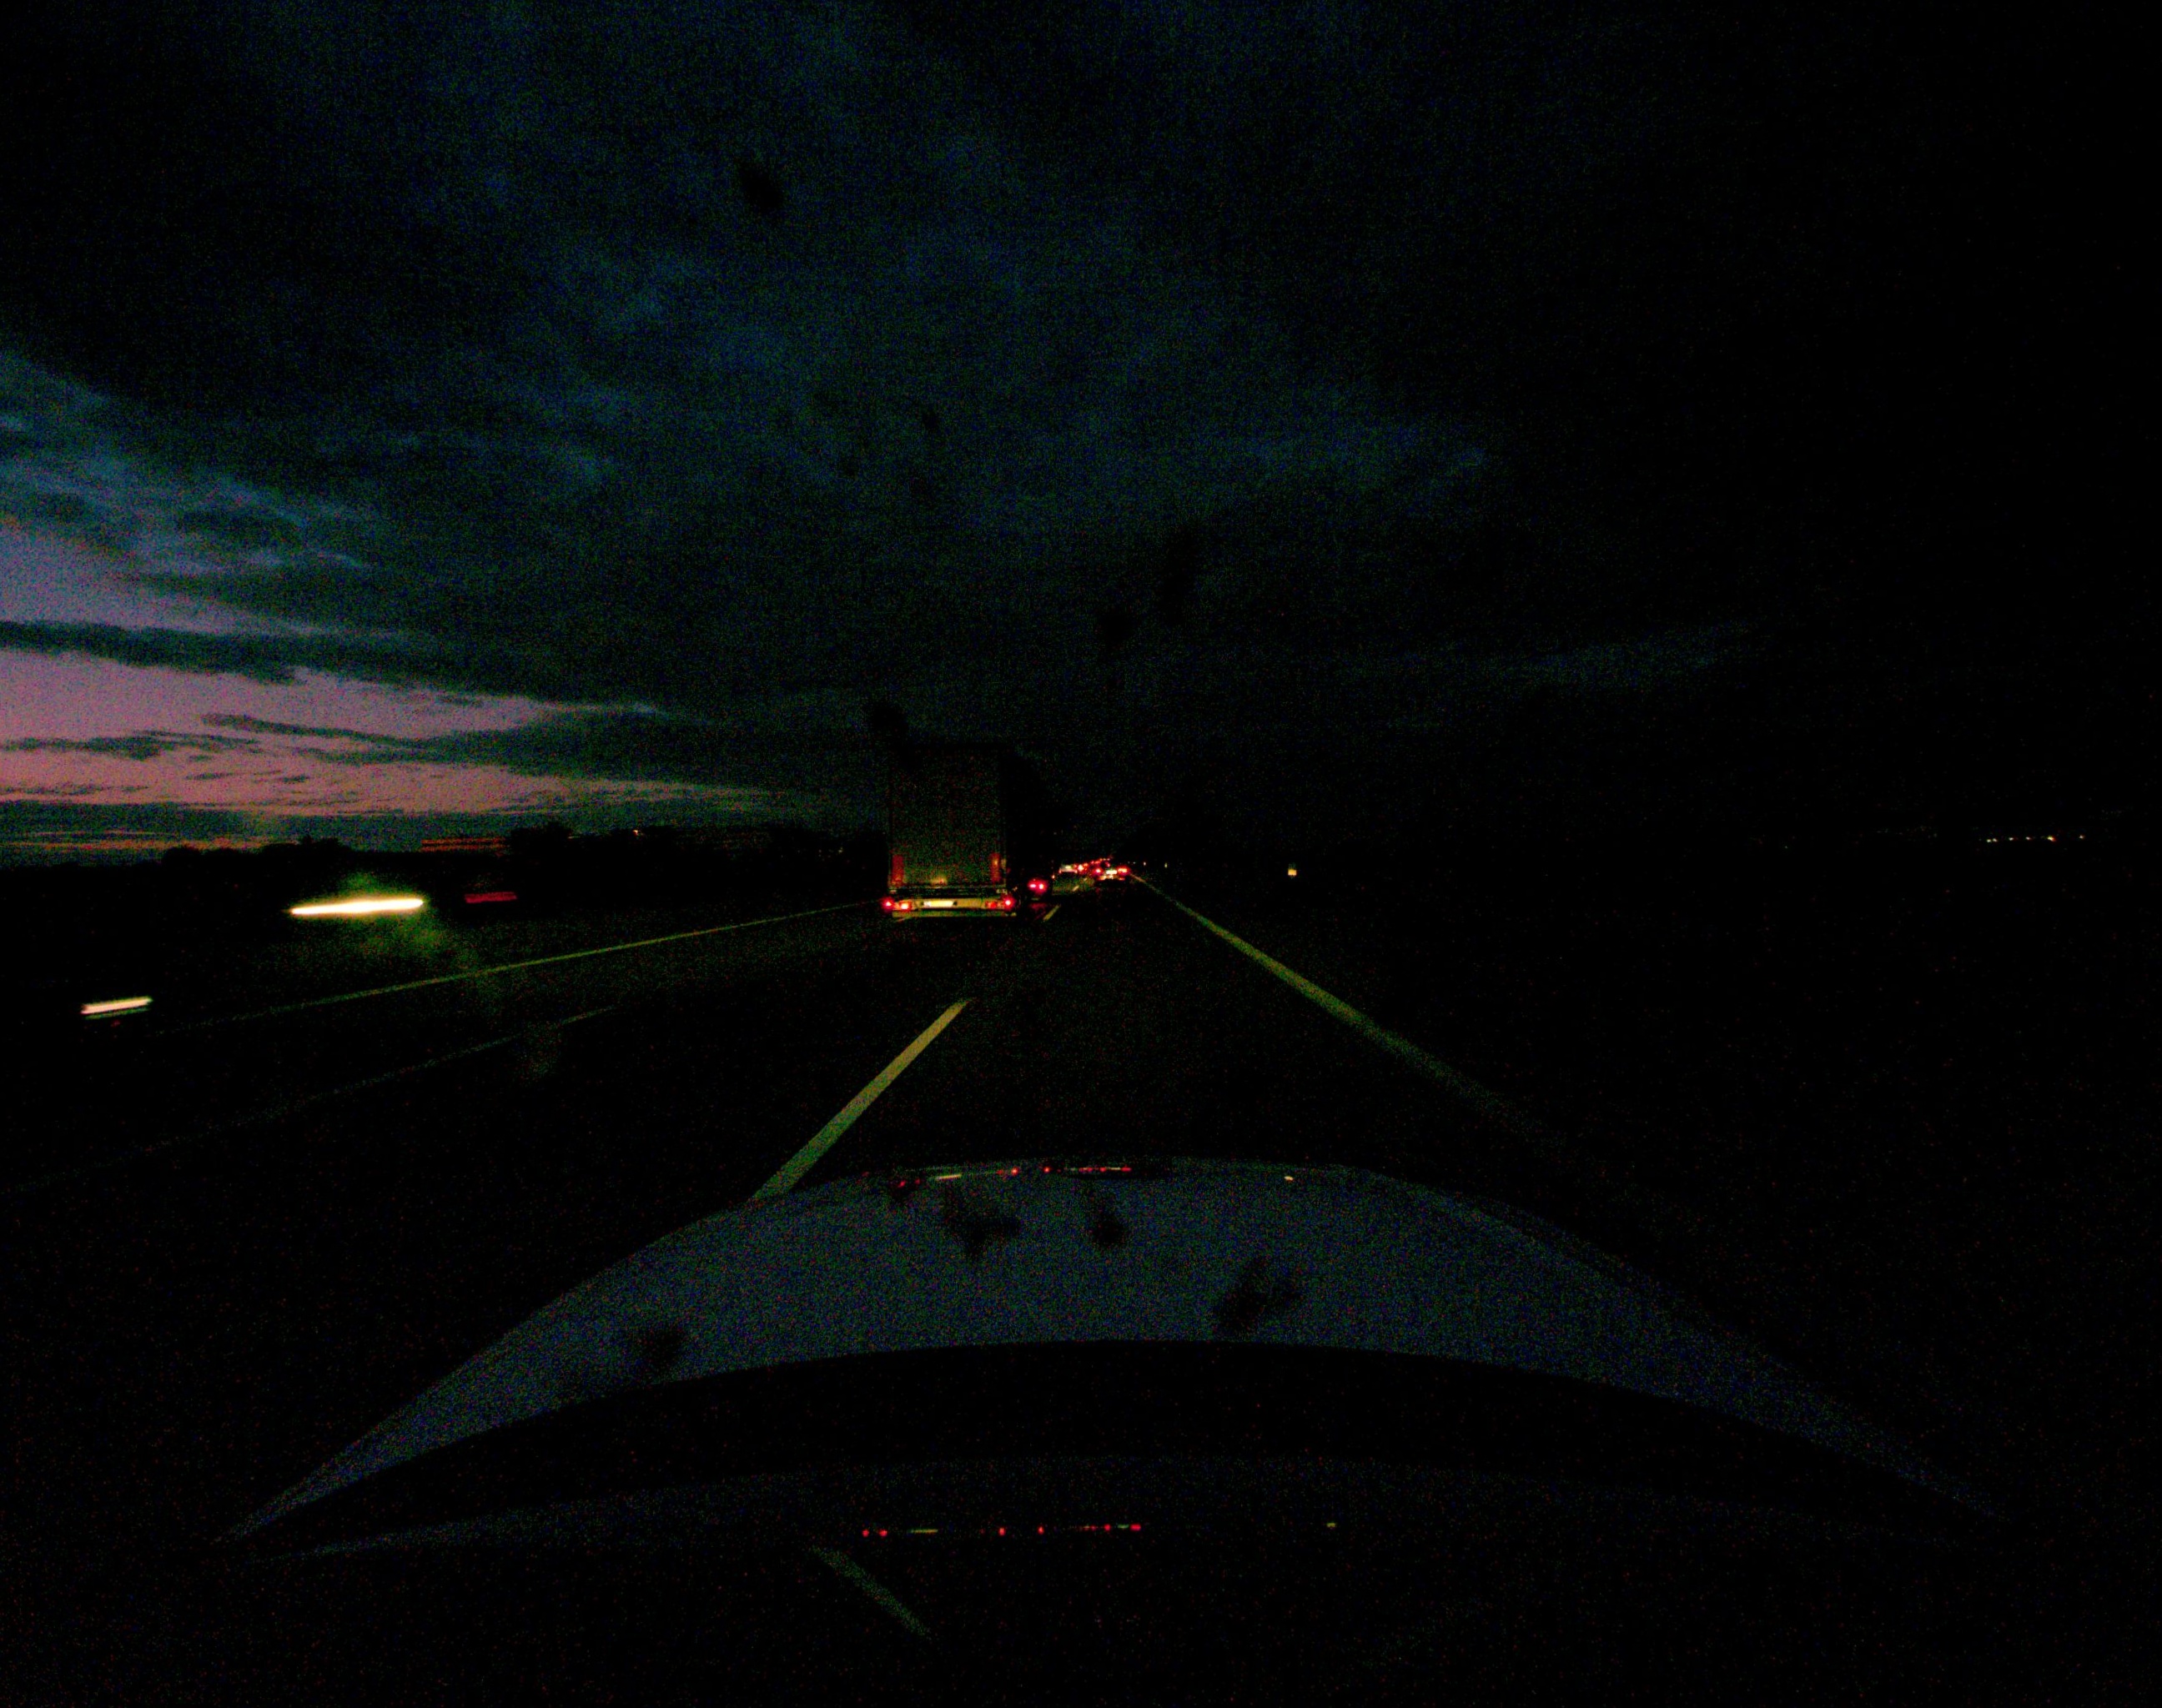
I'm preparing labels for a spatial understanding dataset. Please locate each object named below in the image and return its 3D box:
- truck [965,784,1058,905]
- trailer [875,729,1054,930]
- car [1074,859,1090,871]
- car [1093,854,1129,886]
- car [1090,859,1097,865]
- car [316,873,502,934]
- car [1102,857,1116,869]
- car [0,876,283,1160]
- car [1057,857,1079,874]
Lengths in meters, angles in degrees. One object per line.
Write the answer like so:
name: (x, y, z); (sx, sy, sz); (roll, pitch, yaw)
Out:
truck: (-2.480, -0.276, 31.036); (2.767, 4.093, 6.104); (-1, -1, 1)
trailer: (-2.658, -0.398, 24.061); (2.784, 4.085, 14.528); (-1, -1, 1)
car: (0.150, 1.311, 95.978); (1.716, 1.471, 4.727); (0, -1, 2)
car: (1.621, 0.845, 44.056); (1.873, 1.643, 4.001); (0, -1, 2)
car: (3.426, 2.220, 216.322); (1.873, 1.552, 4.001); (0, -1, 1)
car: (-22.342, 1.576, 27.418); (1.986, 1.847, 4.959); (0, -1, 2)
car: (3.657, 1.191, 107.321); (1.873, 1.552, 4.001); (0, -1, 1)
car: (-6.550, 0.865, 2.985); (1.807, 1.437, 5.396); (0, 0, 2)
car: (-1.124, 1.087, 74.677); (1.737, 1.525, 4.416); (0, -1, 2)
